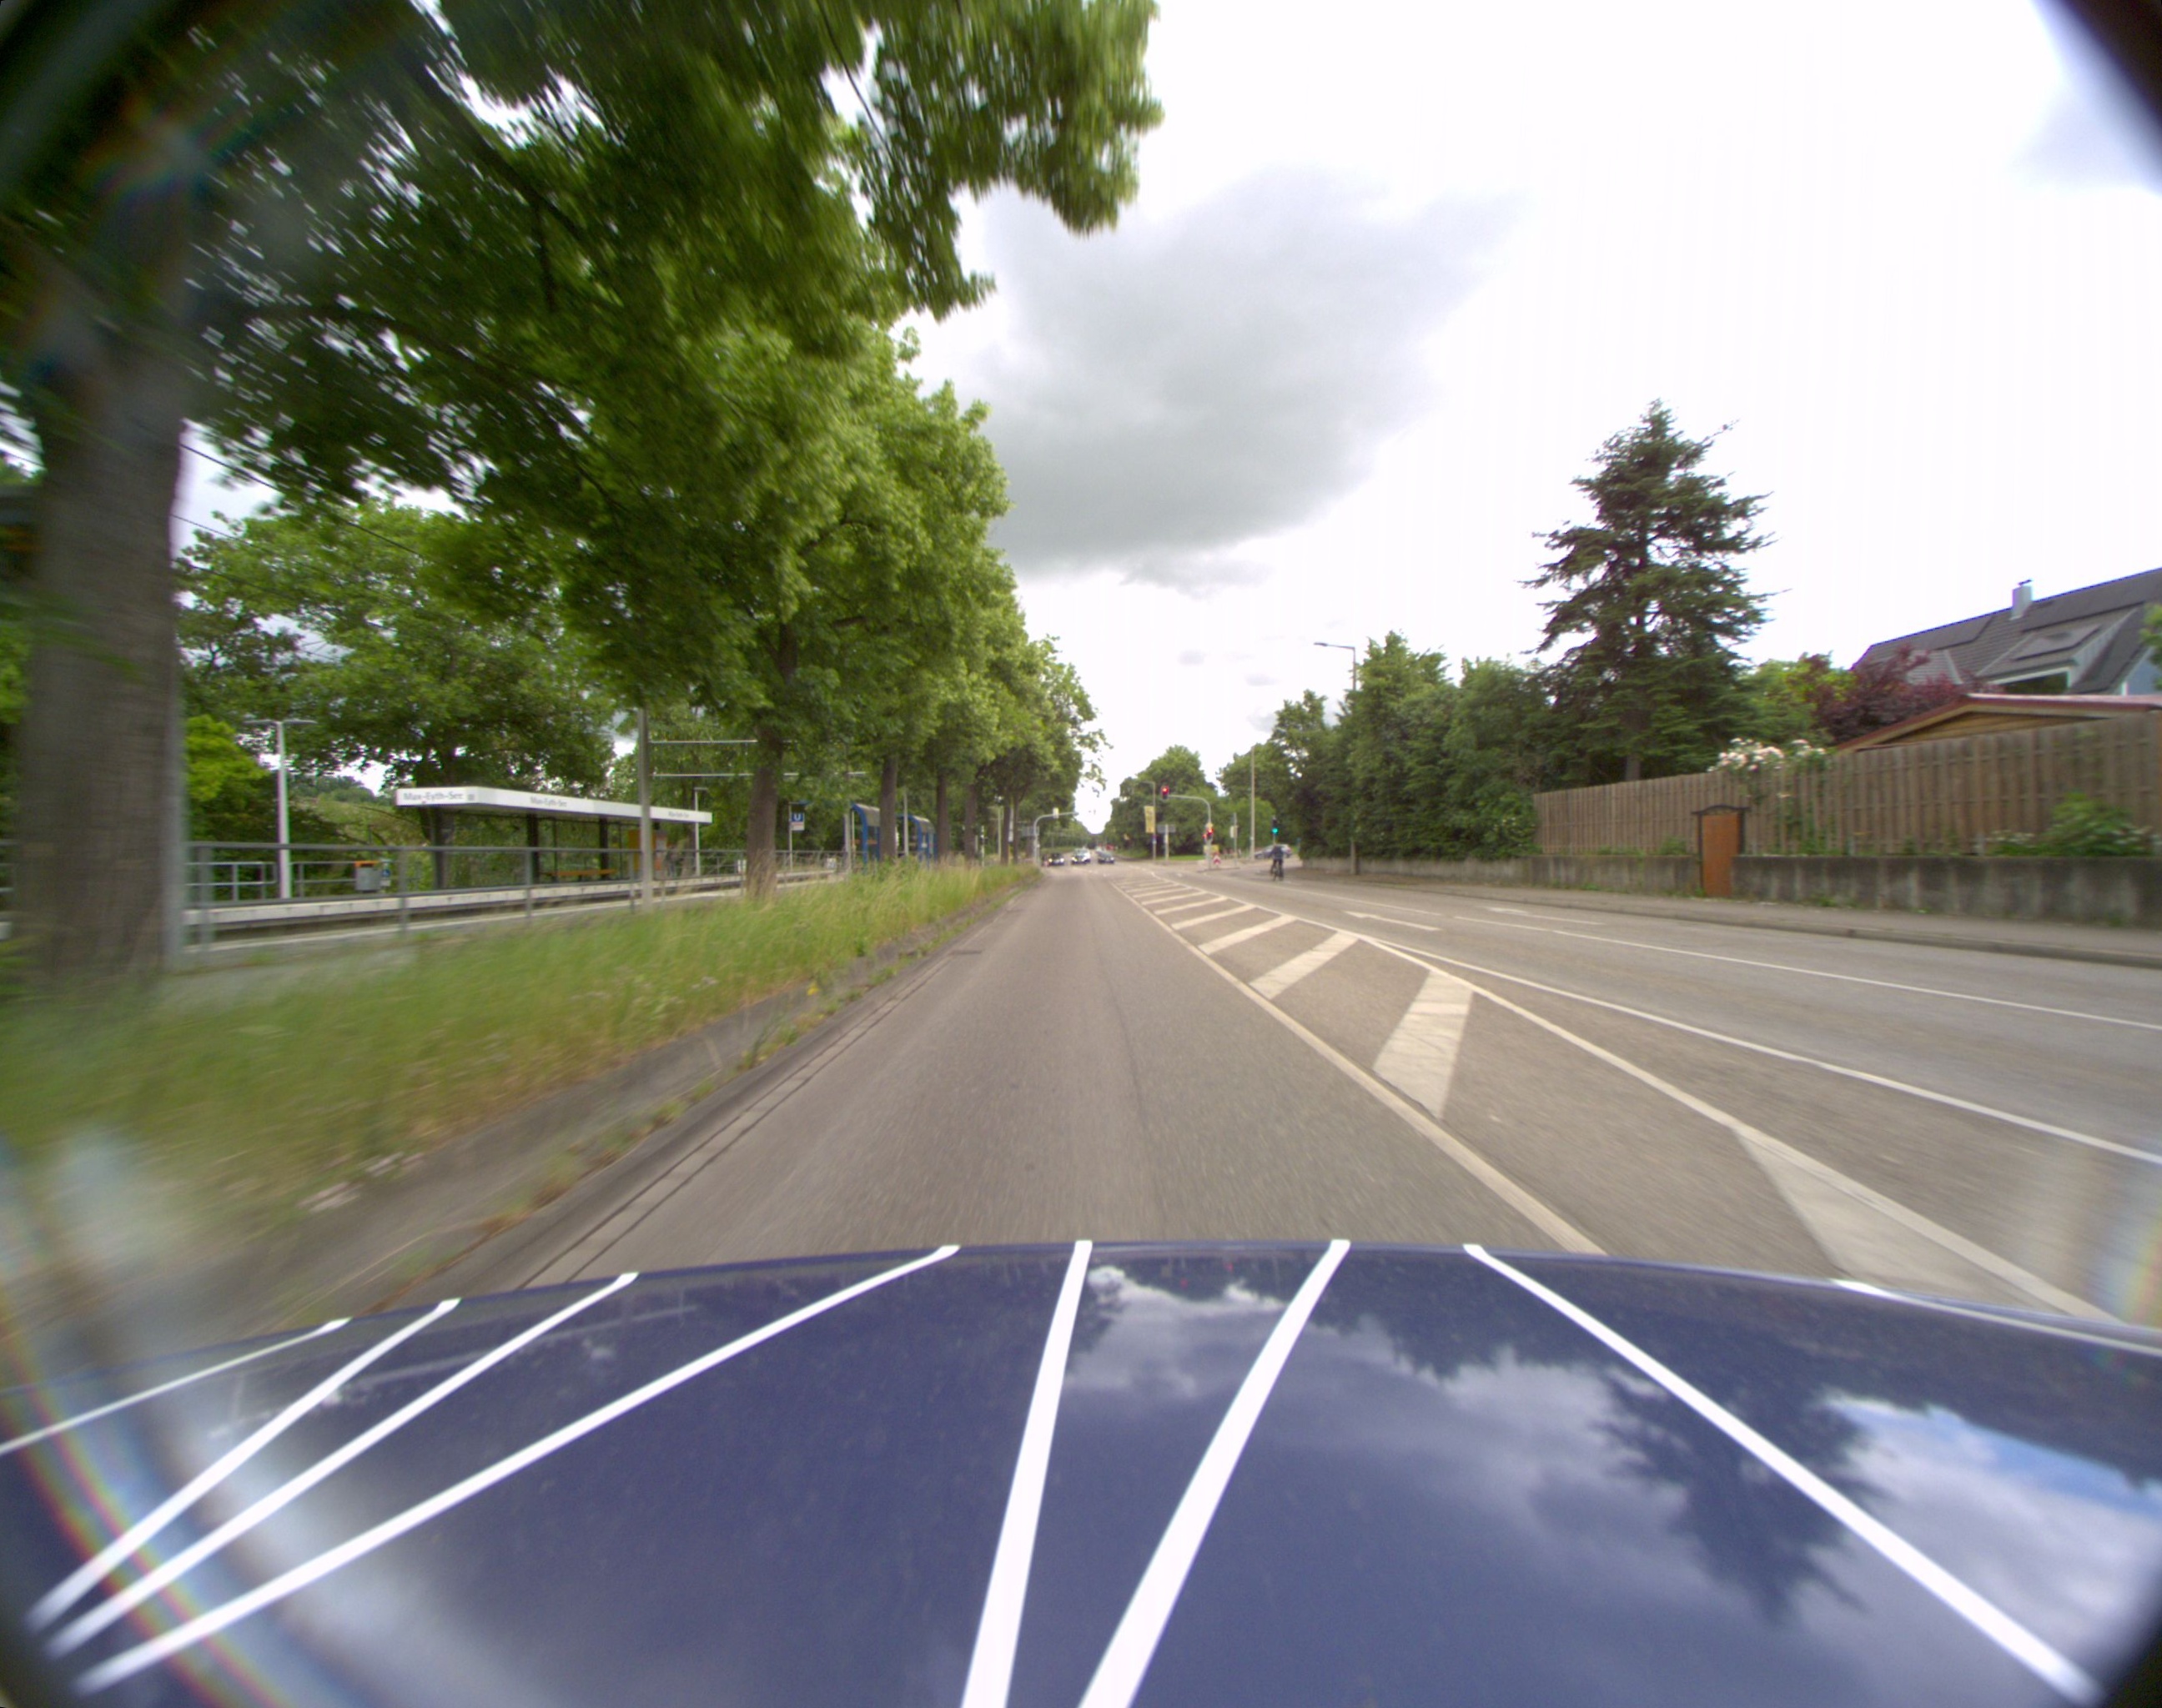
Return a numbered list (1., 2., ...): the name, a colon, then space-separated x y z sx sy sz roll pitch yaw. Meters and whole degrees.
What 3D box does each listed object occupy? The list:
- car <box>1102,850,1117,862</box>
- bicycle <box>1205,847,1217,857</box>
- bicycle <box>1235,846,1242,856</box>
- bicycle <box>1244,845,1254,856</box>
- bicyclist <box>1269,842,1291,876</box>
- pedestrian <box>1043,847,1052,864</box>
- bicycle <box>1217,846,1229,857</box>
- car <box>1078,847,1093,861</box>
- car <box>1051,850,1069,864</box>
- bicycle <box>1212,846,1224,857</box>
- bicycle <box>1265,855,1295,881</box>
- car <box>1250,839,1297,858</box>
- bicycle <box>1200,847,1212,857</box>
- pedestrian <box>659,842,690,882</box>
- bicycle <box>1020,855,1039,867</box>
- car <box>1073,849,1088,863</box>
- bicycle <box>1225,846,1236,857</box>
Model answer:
1. car: 3.386 0.217 90.308 1.560 1.458 3.807 1 1 0
2. bicycle: 16.292 -0.265 95.142 0.544 1.245 1.939 -2 1 37
3. bicycle: 19.332 -0.385 93.310 0.545 1.245 1.937 -2 1 17
4. bicycle: 20.497 -0.435 92.814 0.544 1.245 1.938 -2 2 33
5. bicyclist: 9.363 0.239 35.841 0.644 1.526 0.978 -3 1 -5
6. pedestrian: -3.556 0.170 81.023 0.753 1.727 0.840 1 1 4
7. bicycle: 17.609 -0.313 94.145 0.544 1.245 1.939 -2 2 37
8. car: 0.542 -0.018 101.284 1.912 1.832 5.280 -1 1 0
9. car: -2.461 0.312 89.007 1.807 1.520 3.928 -2 1 1
10. bicycle: 17.112 -0.298 94.708 0.544 1.245 1.939 -2 2 37
11. bicycle: 9.380 0.659 35.861 0.644 1.138 2.146 -3 0 -5
12. car: 21.377 -0.560 84.343 4.735 1.842 2.003 -2 1 23
13. bicycle: 15.672 -0.238 95.419 0.544 1.245 1.939 -2 2 37
14. pedestrian: -15.979 0.302 29.892 0.720 1.503 0.724 -3 2 2
15. bicycle: -4.890 0.628 72.175 1.679 1.084 0.601 1 1 -4
16. car: -0.020 0.225 90.610 1.708 1.472 3.666 -1 1 0
17. bicycle: 18.417 -0.345 93.693 0.544 1.245 1.939 -2 2 37
